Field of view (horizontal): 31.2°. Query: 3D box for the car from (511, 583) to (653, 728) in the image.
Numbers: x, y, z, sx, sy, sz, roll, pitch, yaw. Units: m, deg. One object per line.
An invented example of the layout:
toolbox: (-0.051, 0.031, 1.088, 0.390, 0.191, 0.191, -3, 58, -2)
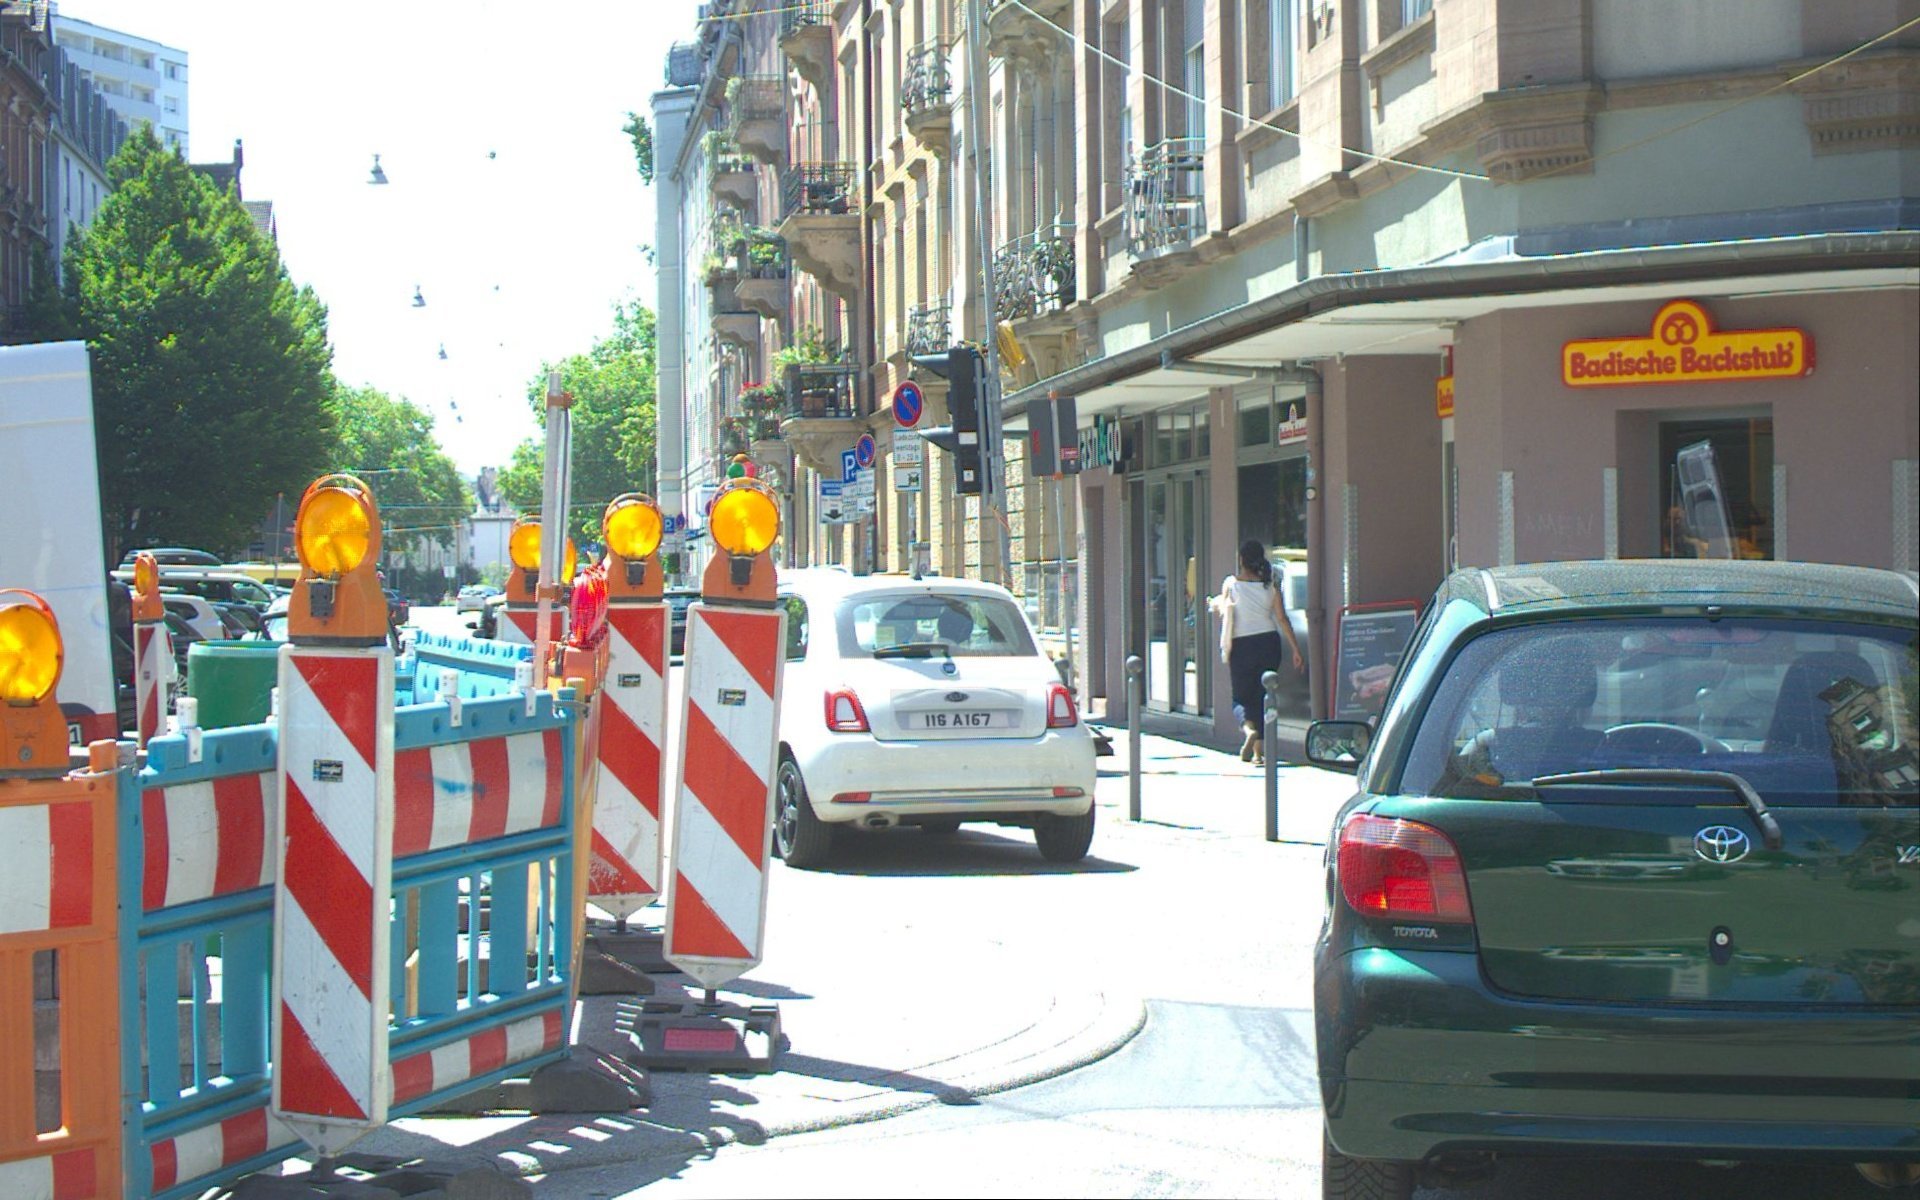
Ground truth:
car: (-4.474, 0.618, 40.405, 1.522, 1.587, 3.264, -1, 1, -8)

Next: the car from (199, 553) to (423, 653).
car: (-14.678, 0.051, 77.829, 4.558, 2.180, 2.000, -1, 0, -33)

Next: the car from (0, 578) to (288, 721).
car: (-10.264, 0.582, 41.125, 3.986, 1.652, 1.760, 1, 0, -30)

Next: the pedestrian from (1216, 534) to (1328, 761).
pedestrian: (2.263, 0.335, 24.982, 0.641, 1.618, 0.804, -1, 0, -6)

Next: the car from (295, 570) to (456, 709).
car: (-7.659, 0.489, 45.369, 1.754, 1.639, 4.378, -4, 1, -6)

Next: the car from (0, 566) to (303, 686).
car: (-11.485, 0.337, 48.703, 1.864, 1.613, 3.913, 0, 0, 43)

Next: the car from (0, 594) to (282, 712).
car: (-11.178, 0.676, 45.700, 1.864, 1.465, 3.913, 0, 0, 43)

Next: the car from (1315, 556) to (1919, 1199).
car: (1.737, 0.652, 8.209, 1.614, 1.480, 3.240, 0, 1, 9)

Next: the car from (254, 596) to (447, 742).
car: (-6.489, 0.697, 36.934, 1.754, 1.439, 4.001, -1, 0, -6)

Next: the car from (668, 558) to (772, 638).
car: (-4.562, -0.050, 64.932, 1.754, 1.424, 4.001, -1, 0, -6)

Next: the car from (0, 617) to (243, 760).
car: (-9.663, 0.889, 35.412, 3.988, 1.407, 1.971, 1, 0, -39)

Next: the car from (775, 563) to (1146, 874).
car: (-0.076, 0.564, 18.669, 1.522, 1.516, 3.264, -1, 1, -9)

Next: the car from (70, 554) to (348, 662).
car: (-14.336, 0.136, 65.717, 4.774, 1.987, 2.053, -1, 0, -35)

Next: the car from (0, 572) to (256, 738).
car: (-10.153, 0.599, 38.661, 3.987, 1.798, 1.769, 1, 0, -36)

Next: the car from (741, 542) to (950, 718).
car: (-1.306, 0.297, 37.156, 1.871, 1.707, 4.504, -2, 0, -6)

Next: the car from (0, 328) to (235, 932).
car: (-7.023, 0.085, 16.588, 6.620, 2.742, 2.380, 1, 0, -5)

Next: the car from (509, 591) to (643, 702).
car: (-6.203, 0.713, 55.420, 1.993, 1.612, 4.001, -3, 1, -7)
